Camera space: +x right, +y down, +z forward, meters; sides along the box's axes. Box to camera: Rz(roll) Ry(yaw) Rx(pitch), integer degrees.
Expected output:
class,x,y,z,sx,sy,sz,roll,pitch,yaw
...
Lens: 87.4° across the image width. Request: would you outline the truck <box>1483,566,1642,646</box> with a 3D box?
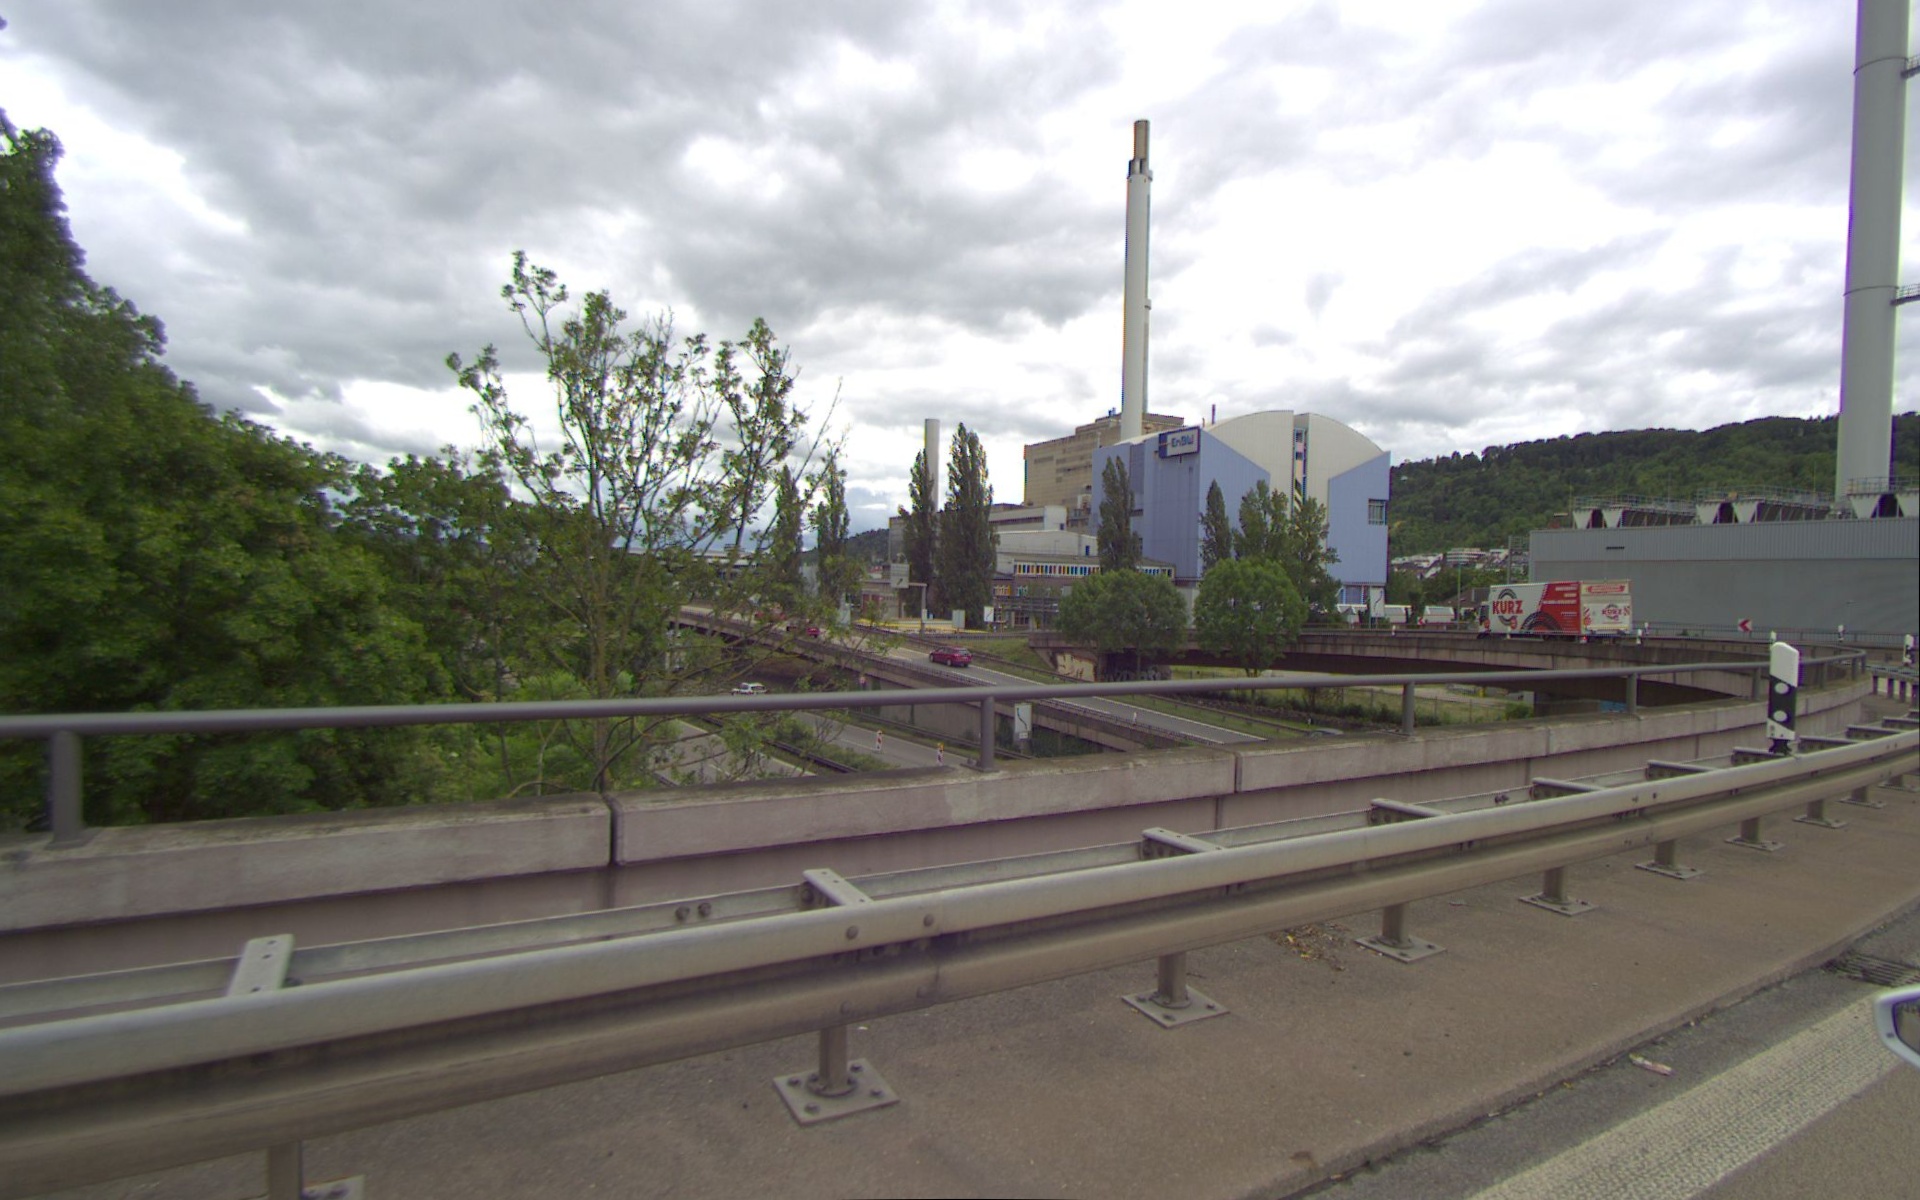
class,x,y,z,sx,sy,sz,roll,pitch,yaw
truck,30.435,0.298,51.236,3.002,3.722,7.923,1,0,-3
